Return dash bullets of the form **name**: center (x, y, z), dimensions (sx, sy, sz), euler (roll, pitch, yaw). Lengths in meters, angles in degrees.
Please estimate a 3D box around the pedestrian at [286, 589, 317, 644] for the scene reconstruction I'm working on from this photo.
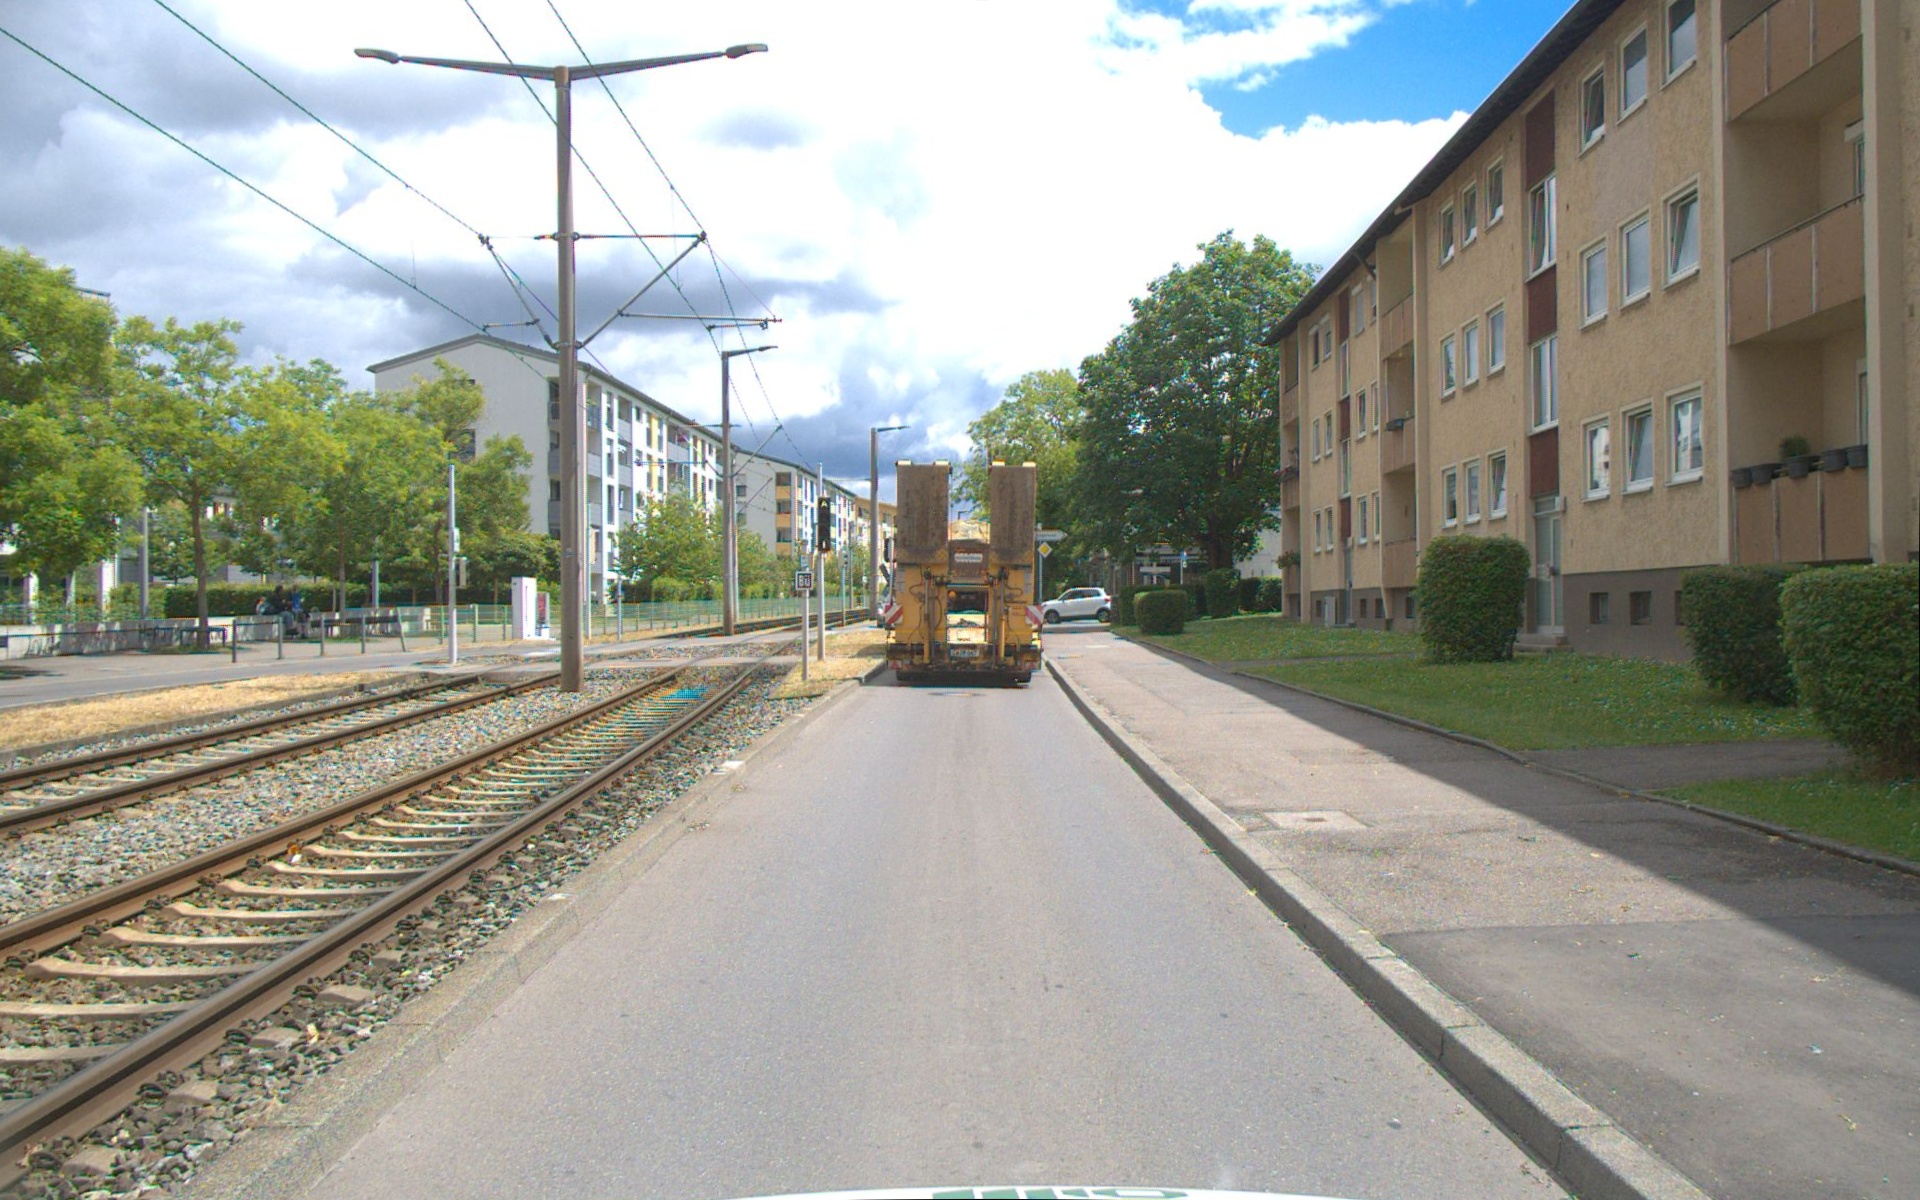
- **pedestrian**: center (-19.538, 0.484, 49.108), dimensions (0.609, 1.600, 0.558), euler (-2, 1, 6)

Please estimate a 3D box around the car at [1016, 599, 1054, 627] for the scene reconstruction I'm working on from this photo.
- **car**: center (4.228, 0.734, 94.108), dimensions (1.953, 1.411, 4.001), euler (-2, 1, 0)

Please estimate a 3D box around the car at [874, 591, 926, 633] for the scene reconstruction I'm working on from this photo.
- **car**: center (-2.533, 0.502, 70.616), dimensions (1.764, 1.681, 4.133), euler (-2, -1, 3)

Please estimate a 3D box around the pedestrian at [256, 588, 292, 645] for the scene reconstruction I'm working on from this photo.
- **pedestrian**: center (-19.640, 0.476, 47.343), dimensions (0.609, 1.600, 0.699), euler (-2, 1, 12)

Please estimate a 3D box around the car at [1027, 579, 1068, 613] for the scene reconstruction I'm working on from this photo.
- **car**: center (4.680, -0.232, 89.043), dimensions (1.953, 1.646, 4.001), euler (-2, 1, 0)

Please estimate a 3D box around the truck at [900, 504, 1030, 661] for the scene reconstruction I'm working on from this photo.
- **truck**: center (0.011, -0.463, 40.798), dimensions (2.776, 3.388, 7.982), euler (-2, 1, -2)

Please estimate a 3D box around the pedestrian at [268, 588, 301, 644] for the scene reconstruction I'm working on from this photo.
- **pedestrian**: center (-19.658, 0.462, 48.142), dimensions (0.609, 1.600, 0.558), euler (-2, 1, 12)

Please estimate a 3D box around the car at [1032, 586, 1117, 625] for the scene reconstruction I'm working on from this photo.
- **car**: center (5.218, 0.254, 75.010), dimensions (3.521, 1.612, 2.002), euler (-2, 0, 13)

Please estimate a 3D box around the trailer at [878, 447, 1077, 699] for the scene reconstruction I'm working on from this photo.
- **trailer**: center (0.126, -0.535, 31.641), dimensions (2.989, 3.838, 11.610), euler (-2, 1, -1)

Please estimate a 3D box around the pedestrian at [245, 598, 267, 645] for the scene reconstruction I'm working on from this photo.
- **pedestrian**: center (-19.736, 0.598, 46.372), dimensions (0.492, 1.289, 0.496), euler (-2, 1, -22)

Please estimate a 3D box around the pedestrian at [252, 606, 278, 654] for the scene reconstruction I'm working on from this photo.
- **pedestrian**: center (-23.465, 1.017, 55.826), dimensions (0.533, 1.574, 0.529), euler (-2, 1, 21)
